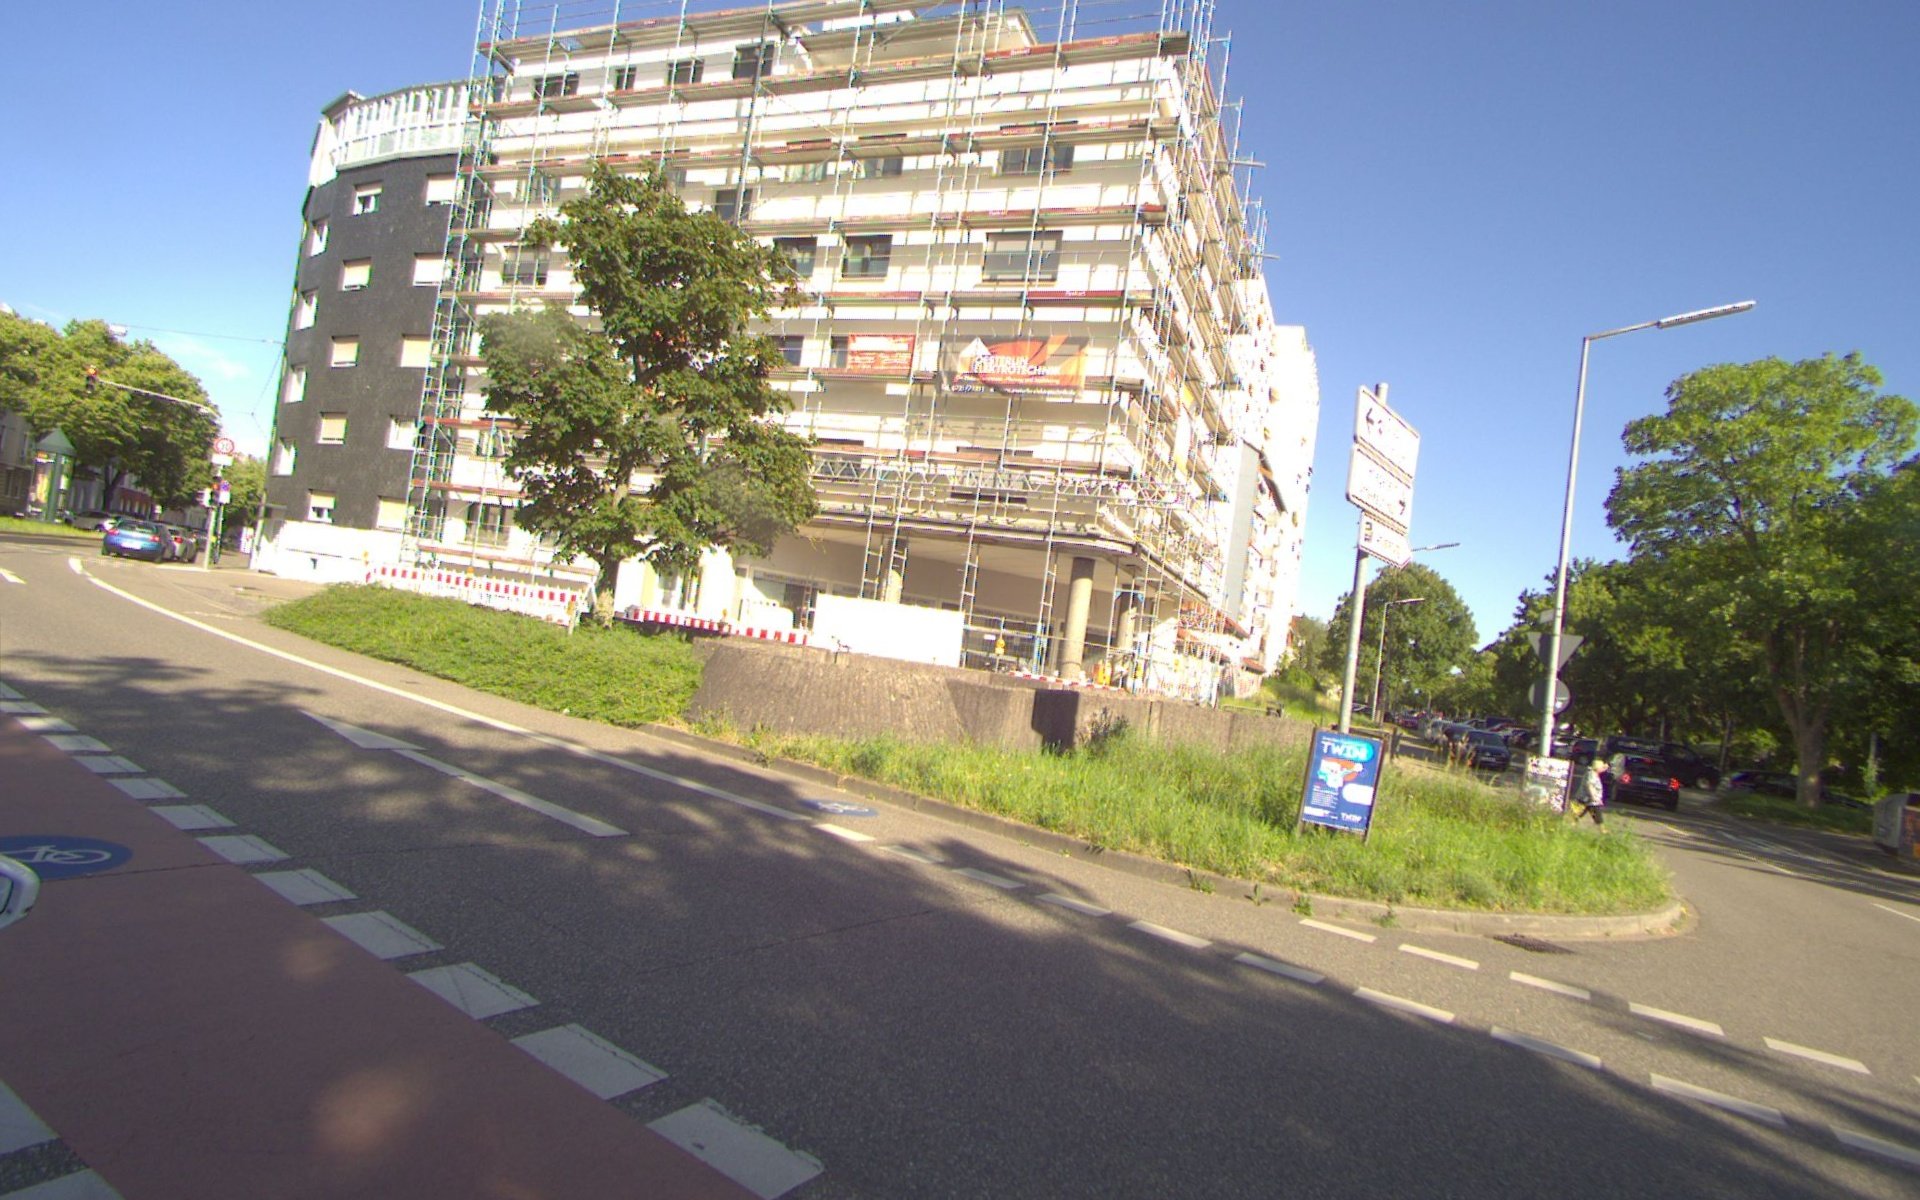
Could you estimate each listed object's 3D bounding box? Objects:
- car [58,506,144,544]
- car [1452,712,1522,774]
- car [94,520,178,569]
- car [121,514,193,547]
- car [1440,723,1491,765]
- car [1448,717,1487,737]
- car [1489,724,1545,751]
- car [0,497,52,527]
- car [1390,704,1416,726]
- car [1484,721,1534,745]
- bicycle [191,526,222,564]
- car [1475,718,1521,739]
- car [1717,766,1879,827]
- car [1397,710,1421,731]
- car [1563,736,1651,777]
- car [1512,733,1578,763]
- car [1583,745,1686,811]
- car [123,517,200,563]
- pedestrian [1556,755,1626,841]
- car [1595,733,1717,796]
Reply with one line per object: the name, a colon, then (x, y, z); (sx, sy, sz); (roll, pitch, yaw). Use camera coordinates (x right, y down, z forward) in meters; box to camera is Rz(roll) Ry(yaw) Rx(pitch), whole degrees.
car: (-52.517, -4.573, 61.519); (3.924, 1.612, 1.913); (8, -2, 13)
car: (20.909, 5.624, 40.063); (1.964, 2.036, 4.003); (7, -3, 24)
car: (-30.777, -2.063, 37.656); (1.764, 1.458, 3.589); (10, -3, -31)
car: (-62.544, -5.377, 78.446); (3.765, 1.805, 1.835); (9, -2, -17)
car: (24.564, 7.003, 48.986); (1.964, 1.679, 4.004); (6, -4, 25)
car: (60.210, 15.079, 119.406); (3.927, 1.673, 2.003); (6, -4, 23)
car: (48.707, 12.017, 87.983); (3.927, 1.673, 2.003); (6, -4, 23)
car: (-62.273, -5.840, 66.686); (1.978, 1.489, 3.974); (9, -3, -27)
car: (40.923, 10.620, 92.786); (1.964, 1.679, 4.004); (6, -4, 25)
car: (52.774, 12.802, 96.788); (3.927, 1.673, 2.003); (6, -4, 23)
bicycle: (-32.973, -2.381, 44.043); (0.569, 1.528, 2.786); (9, -2, -30)
car: (56.896, 13.608, 106.508); (3.927, 1.673, 2.003); (6, -4, 23)
car: (28.573, 6.679, 34.481); (3.936, 1.311, 1.998); (5, -5, 34)
car: (45.343, 12.181, 101.595); (1.964, 1.679, 4.004); (6, -4, 25)
car: (37.580, 9.072, 58.534); (3.930, 1.673, 2.001); (6, -4, 27)
car: (44.454, 11.240, 76.541); (3.927, 1.673, 2.003); (6, -4, 23)
car: (21.451, 5.630, 32.144); (1.648, 1.519, 3.567); (8, -2, 18)
car: (-33.189, -2.483, 41.907); (1.807, 1.525, 3.969); (9, -2, -30)
pedestrian: (12.639, 3.950, 20.176); (0.892, 1.514, 0.652); (7, -2, 18)
car: (32.303, 7.580, 46.842); (4.277, 2.096, 2.000); (7, -2, 29)
